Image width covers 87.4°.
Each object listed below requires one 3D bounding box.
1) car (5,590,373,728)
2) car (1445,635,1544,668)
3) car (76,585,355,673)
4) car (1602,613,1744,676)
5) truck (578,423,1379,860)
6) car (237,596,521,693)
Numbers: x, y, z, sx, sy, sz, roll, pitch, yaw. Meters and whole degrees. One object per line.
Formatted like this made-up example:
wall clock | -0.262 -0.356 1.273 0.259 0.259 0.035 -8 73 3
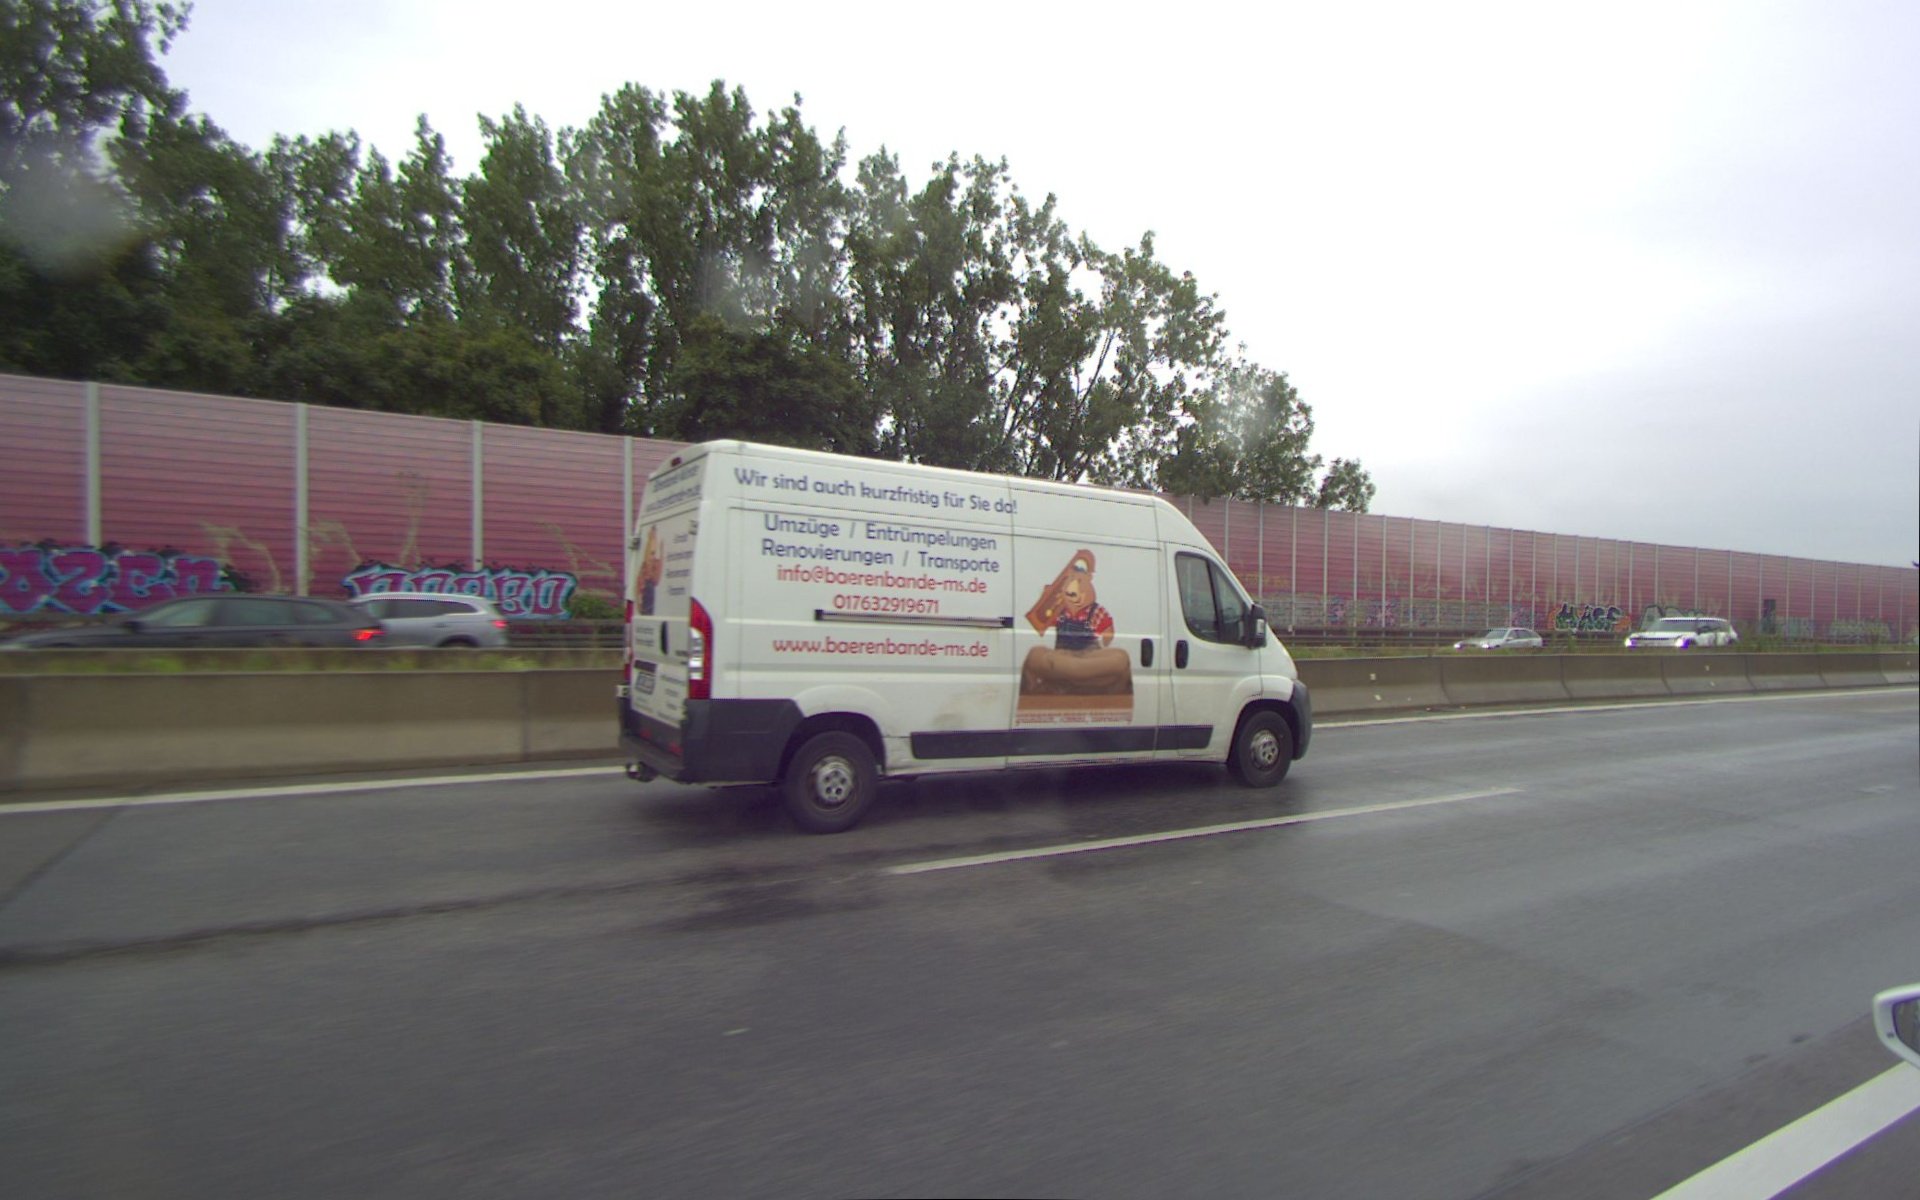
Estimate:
car | -10.828 0.788 14.556 3.953 1.747 1.984 1 -1 -30
car | 22.976 2.174 43.126 4.229 1.311 1.850 1 -1 -31
car | -15.430 0.599 21.191 4.485 1.670 1.984 1 -1 -30
car | 26.071 1.599 36.689 5.739 2.041 1.983 1 2 -31
truck | 0.434 0.309 8.406 6.507 2.512 2.226 1 -1 -31
car | -10.988 0.813 19.292 4.485 1.670 1.984 1 -1 -30
